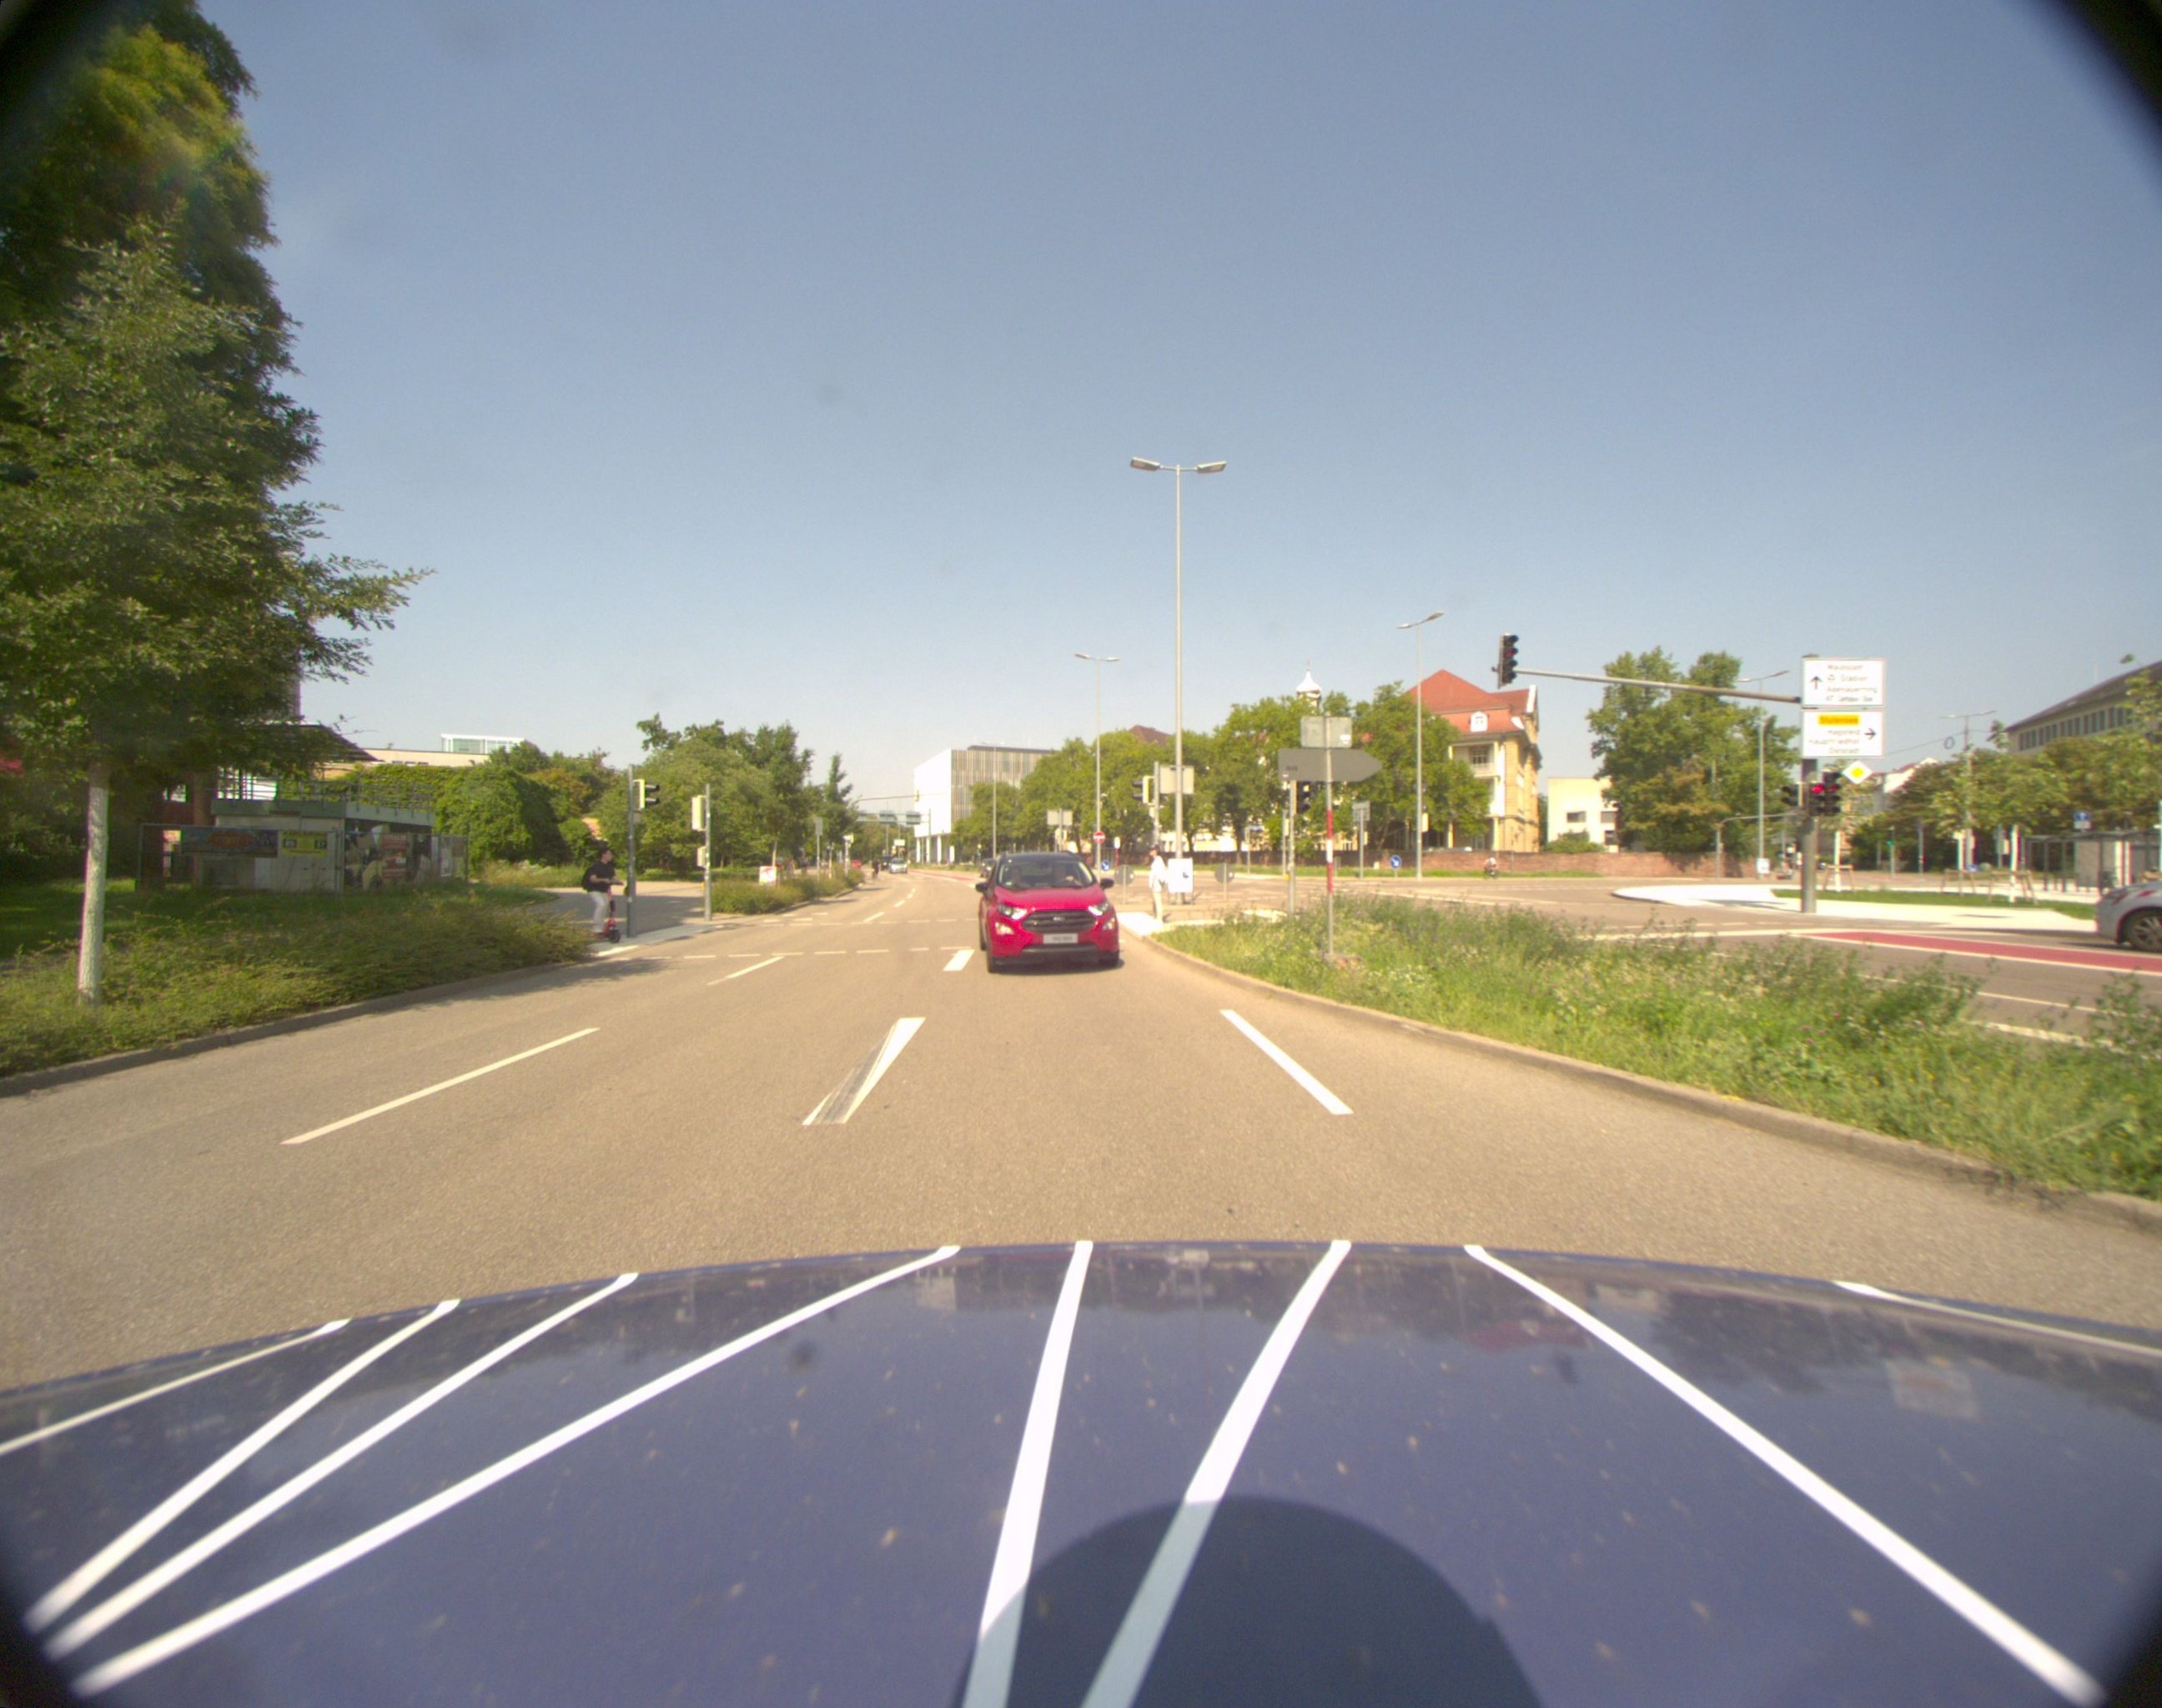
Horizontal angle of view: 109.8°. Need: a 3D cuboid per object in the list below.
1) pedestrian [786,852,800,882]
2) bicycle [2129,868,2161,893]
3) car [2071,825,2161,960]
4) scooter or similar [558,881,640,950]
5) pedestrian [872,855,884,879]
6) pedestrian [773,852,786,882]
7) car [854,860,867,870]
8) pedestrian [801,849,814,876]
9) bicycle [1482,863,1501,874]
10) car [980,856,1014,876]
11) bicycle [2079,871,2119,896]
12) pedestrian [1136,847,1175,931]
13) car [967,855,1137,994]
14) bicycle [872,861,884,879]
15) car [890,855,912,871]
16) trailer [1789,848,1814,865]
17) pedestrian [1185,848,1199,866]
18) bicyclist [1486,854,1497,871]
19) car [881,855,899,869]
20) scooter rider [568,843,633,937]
[{"bbox_3d":[-17.075,0.769,45.054,0.694,1.761,0.587,0,0,-17],"label":"pedestrian"},{"bbox_3d":[46.063,1.141,32.735,0.525,1.034,1.774,1,0,36],"label":"bicycle"},{"bbox_3d":[15.937,0.568,9.219,1.999,1.849,4.332,3,0,-5],"label":"car"},{"bbox_3d":[-9.250,1.157,14.581,1.365,1.227,0.586,1,1,19],"label":"scooter or similar"},{"bbox_3d":[-14.544,0.923,54.499,0.781,1.659,0.548,0,0,-17],"label":"pedestrian"},{"bbox_3d":[-17.714,0.779,44.657,0.694,1.761,0.587,0,0,-17],"label":"pedestrian"},{"bbox_3d":[-37.988,1.874,130.710,2.002,1.769,3.994,0,0,-18],"label":"car"},{"bbox_3d":[-17.690,0.543,49.143,0.794,1.758,0.825,0,0,-17],"label":"pedestrian"},{"bbox_3d":[29.639,1.048,54.839,1.488,0.807,0.436,0,1,-24],"label":"bicycle"},{"bbox_3d":[-6.323,0.864,56.958,1.793,1.349,3.418,-1,1,-18],"label":"car"},{"bbox_3d":[45.132,1.286,33.703,0.525,1.075,1.869,1,0,36],"label":"bicycle"},{"bbox_3d":[1.555,0.713,15.752,0.699,1.685,0.608,1,0,14],"label":"pedestrian"},{"bbox_3d":[-0.626,0.861,11.320,1.846,1.605,3.995,-2,1,-12],"label":"car"},{"bbox_3d":[-14.583,1.137,54.627,0.787,1.205,1.786,0,0,-17],"label":"bicycle"},{"bbox_3d":[-19.516,0.932,82.130,2.002,1.669,3.994,0,0,-18],"label":"car"},{"bbox_3d":[140.485,0.482,148.148,2.435,3.268,5.099,1,0,31],"label":"trailer"},{"bbox_3d":[13.013,0.336,89.083,1.074,2.002,1.231,1,0,-41],"label":"pedestrian"},{"bbox_3d":[29.609,0.641,54.812,0.541,1.226,0.432,0,1,-24],"label":"bicyclist"},{"bbox_3d":[-24.393,1.008,96.927,2.002,1.769,3.994,0,0,-18],"label":"car"},{"bbox_3d":[-9.244,0.671,14.632,0.803,1.729,0.690,1,1,19],"label":"scooter rider"}]
